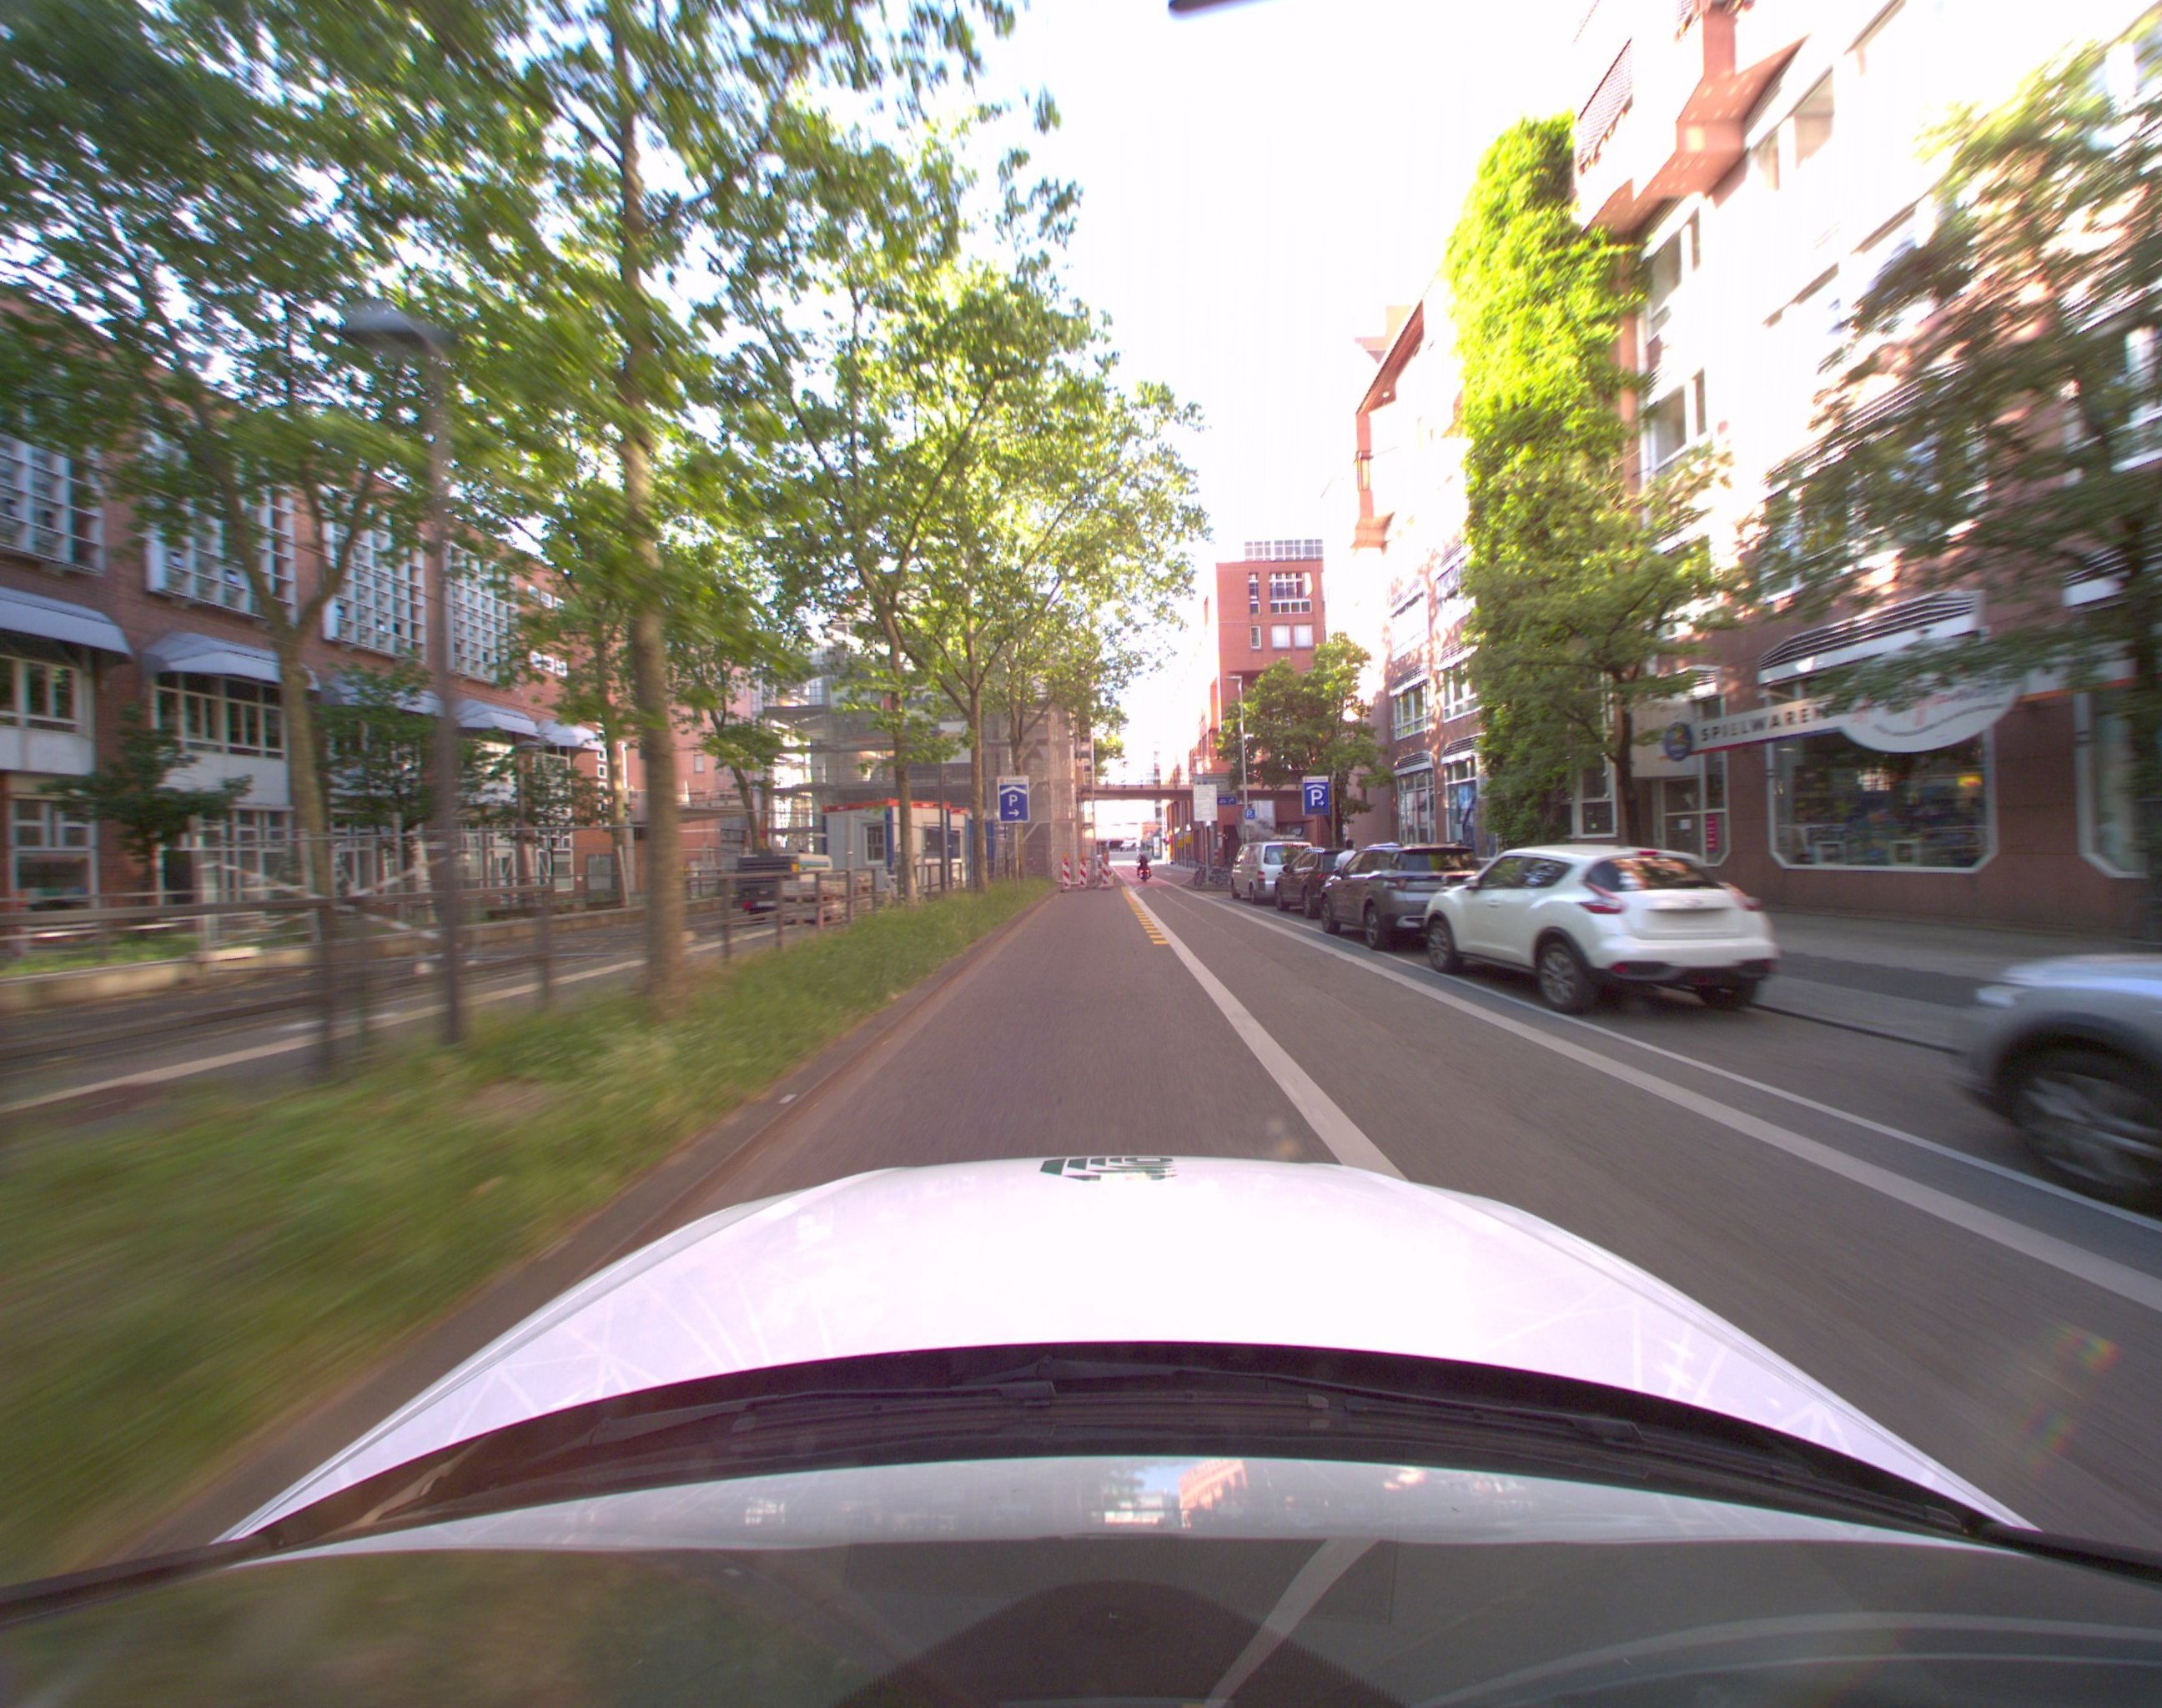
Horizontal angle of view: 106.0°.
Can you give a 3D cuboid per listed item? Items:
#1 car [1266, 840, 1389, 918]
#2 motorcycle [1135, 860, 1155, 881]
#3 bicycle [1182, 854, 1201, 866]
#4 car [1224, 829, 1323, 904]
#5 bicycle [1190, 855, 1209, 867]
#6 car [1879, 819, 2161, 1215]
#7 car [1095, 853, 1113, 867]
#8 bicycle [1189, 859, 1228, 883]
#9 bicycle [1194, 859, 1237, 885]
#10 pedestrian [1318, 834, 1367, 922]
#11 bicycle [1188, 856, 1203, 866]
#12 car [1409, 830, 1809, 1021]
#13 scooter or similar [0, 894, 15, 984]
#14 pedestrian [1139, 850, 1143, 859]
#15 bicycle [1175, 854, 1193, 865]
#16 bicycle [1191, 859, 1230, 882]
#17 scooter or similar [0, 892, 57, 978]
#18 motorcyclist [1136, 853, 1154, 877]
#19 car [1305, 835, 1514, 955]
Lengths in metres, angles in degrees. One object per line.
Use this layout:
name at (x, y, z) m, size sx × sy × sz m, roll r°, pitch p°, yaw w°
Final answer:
car at (5.923, 0.557, 20.106) m, size 1.781 × 1.670 × 4.200 m, roll -2°, pitch 0°, yaw 0°
motorcycle at (3.635, 0.907, 46.616) m, size 0.970 × 1.132 × 2.805 m, roll -1°, pitch 0°, yaw 1°
bicycle at (11.169, 0.615, 82.350) m, size 1.885 × 1.119 × 0.550 m, roll -2°, pitch 0°, yaw 0°
car at (5.977, 0.348, 25.941) m, size 1.912 × 2.078 × 5.170 m, roll -2°, pitch 0°, yaw 1°
bicycle at (10.980, 0.638, 75.385) m, size 1.605 × 0.955 × 0.555 m, roll -4°, pitch 0°, yaw 2°
car at (5.191, 0.623, 2.367) m, size 1.822 × 1.579 × 4.000 m, roll -2°, pitch 0°, yaw 0°
car at (2.574, 0.669, 93.011) m, size 1.917 × 1.388 × 3.999 m, roll -2°, pitch 0°, yaw 0°
bicycle at (5.737, 0.763, 36.604) m, size 1.661 × 1.067 × 0.504 m, roll -1°, pitch 0°, yaw 35°
bicycle at (5.668, 0.779, 34.366) m, size 1.662 × 1.067 × 0.514 m, roll -1°, pitch 0°, yaw 24°
pedestrian at (5.613, 0.503, 17.482) m, size 0.720 × 1.812 × 0.655 m, roll -2°, pitch 0°, yaw -42°
bicycle at (10.986, 0.674, 78.114) m, size 1.328 × 0.841 × 0.425 m, roll -4°, pitch 0°, yaw 2°
car at (5.327, 0.611, 8.976) m, size 1.822 × 1.579 × 4.000 m, roll -2°, pitch 0°, yaw 0°
scooter or similar at (-21.236, 1.659, 15.713) m, size 0.529 × 1.726 × 0.573 m, roll 0°, pitch -1°, yaw -7°
pedestrian at (10.529, 0.126, 142.779) m, size 0.544 × 1.583 × 0.550 m, roll -2°, pitch 0°, yaw -42°
bicycle at (10.907, 0.560, 86.332) m, size 1.885 × 1.119 × 0.475 m, roll -2°, pitch 0°, yaw 0°
bicycle at (5.950, 0.758, 37.456) m, size 1.661 × 1.067 × 0.504 m, roll -1°, pitch 0°, yaw 35°
scooter or similar at (-21.948, 1.672, 16.936) m, size 0.529 × 1.726 × 0.573 m, roll 0°, pitch -1°, yaw -7°
motorcyclist at (3.645, 0.613, 46.599) m, size 0.967 × 1.347 × 1.138 m, roll -1°, pitch 0°, yaw 0°
car at (5.339, 0.588, 13.938) m, size 1.781 × 1.670 × 4.440 m, roll -2°, pitch 0°, yaw 0°
